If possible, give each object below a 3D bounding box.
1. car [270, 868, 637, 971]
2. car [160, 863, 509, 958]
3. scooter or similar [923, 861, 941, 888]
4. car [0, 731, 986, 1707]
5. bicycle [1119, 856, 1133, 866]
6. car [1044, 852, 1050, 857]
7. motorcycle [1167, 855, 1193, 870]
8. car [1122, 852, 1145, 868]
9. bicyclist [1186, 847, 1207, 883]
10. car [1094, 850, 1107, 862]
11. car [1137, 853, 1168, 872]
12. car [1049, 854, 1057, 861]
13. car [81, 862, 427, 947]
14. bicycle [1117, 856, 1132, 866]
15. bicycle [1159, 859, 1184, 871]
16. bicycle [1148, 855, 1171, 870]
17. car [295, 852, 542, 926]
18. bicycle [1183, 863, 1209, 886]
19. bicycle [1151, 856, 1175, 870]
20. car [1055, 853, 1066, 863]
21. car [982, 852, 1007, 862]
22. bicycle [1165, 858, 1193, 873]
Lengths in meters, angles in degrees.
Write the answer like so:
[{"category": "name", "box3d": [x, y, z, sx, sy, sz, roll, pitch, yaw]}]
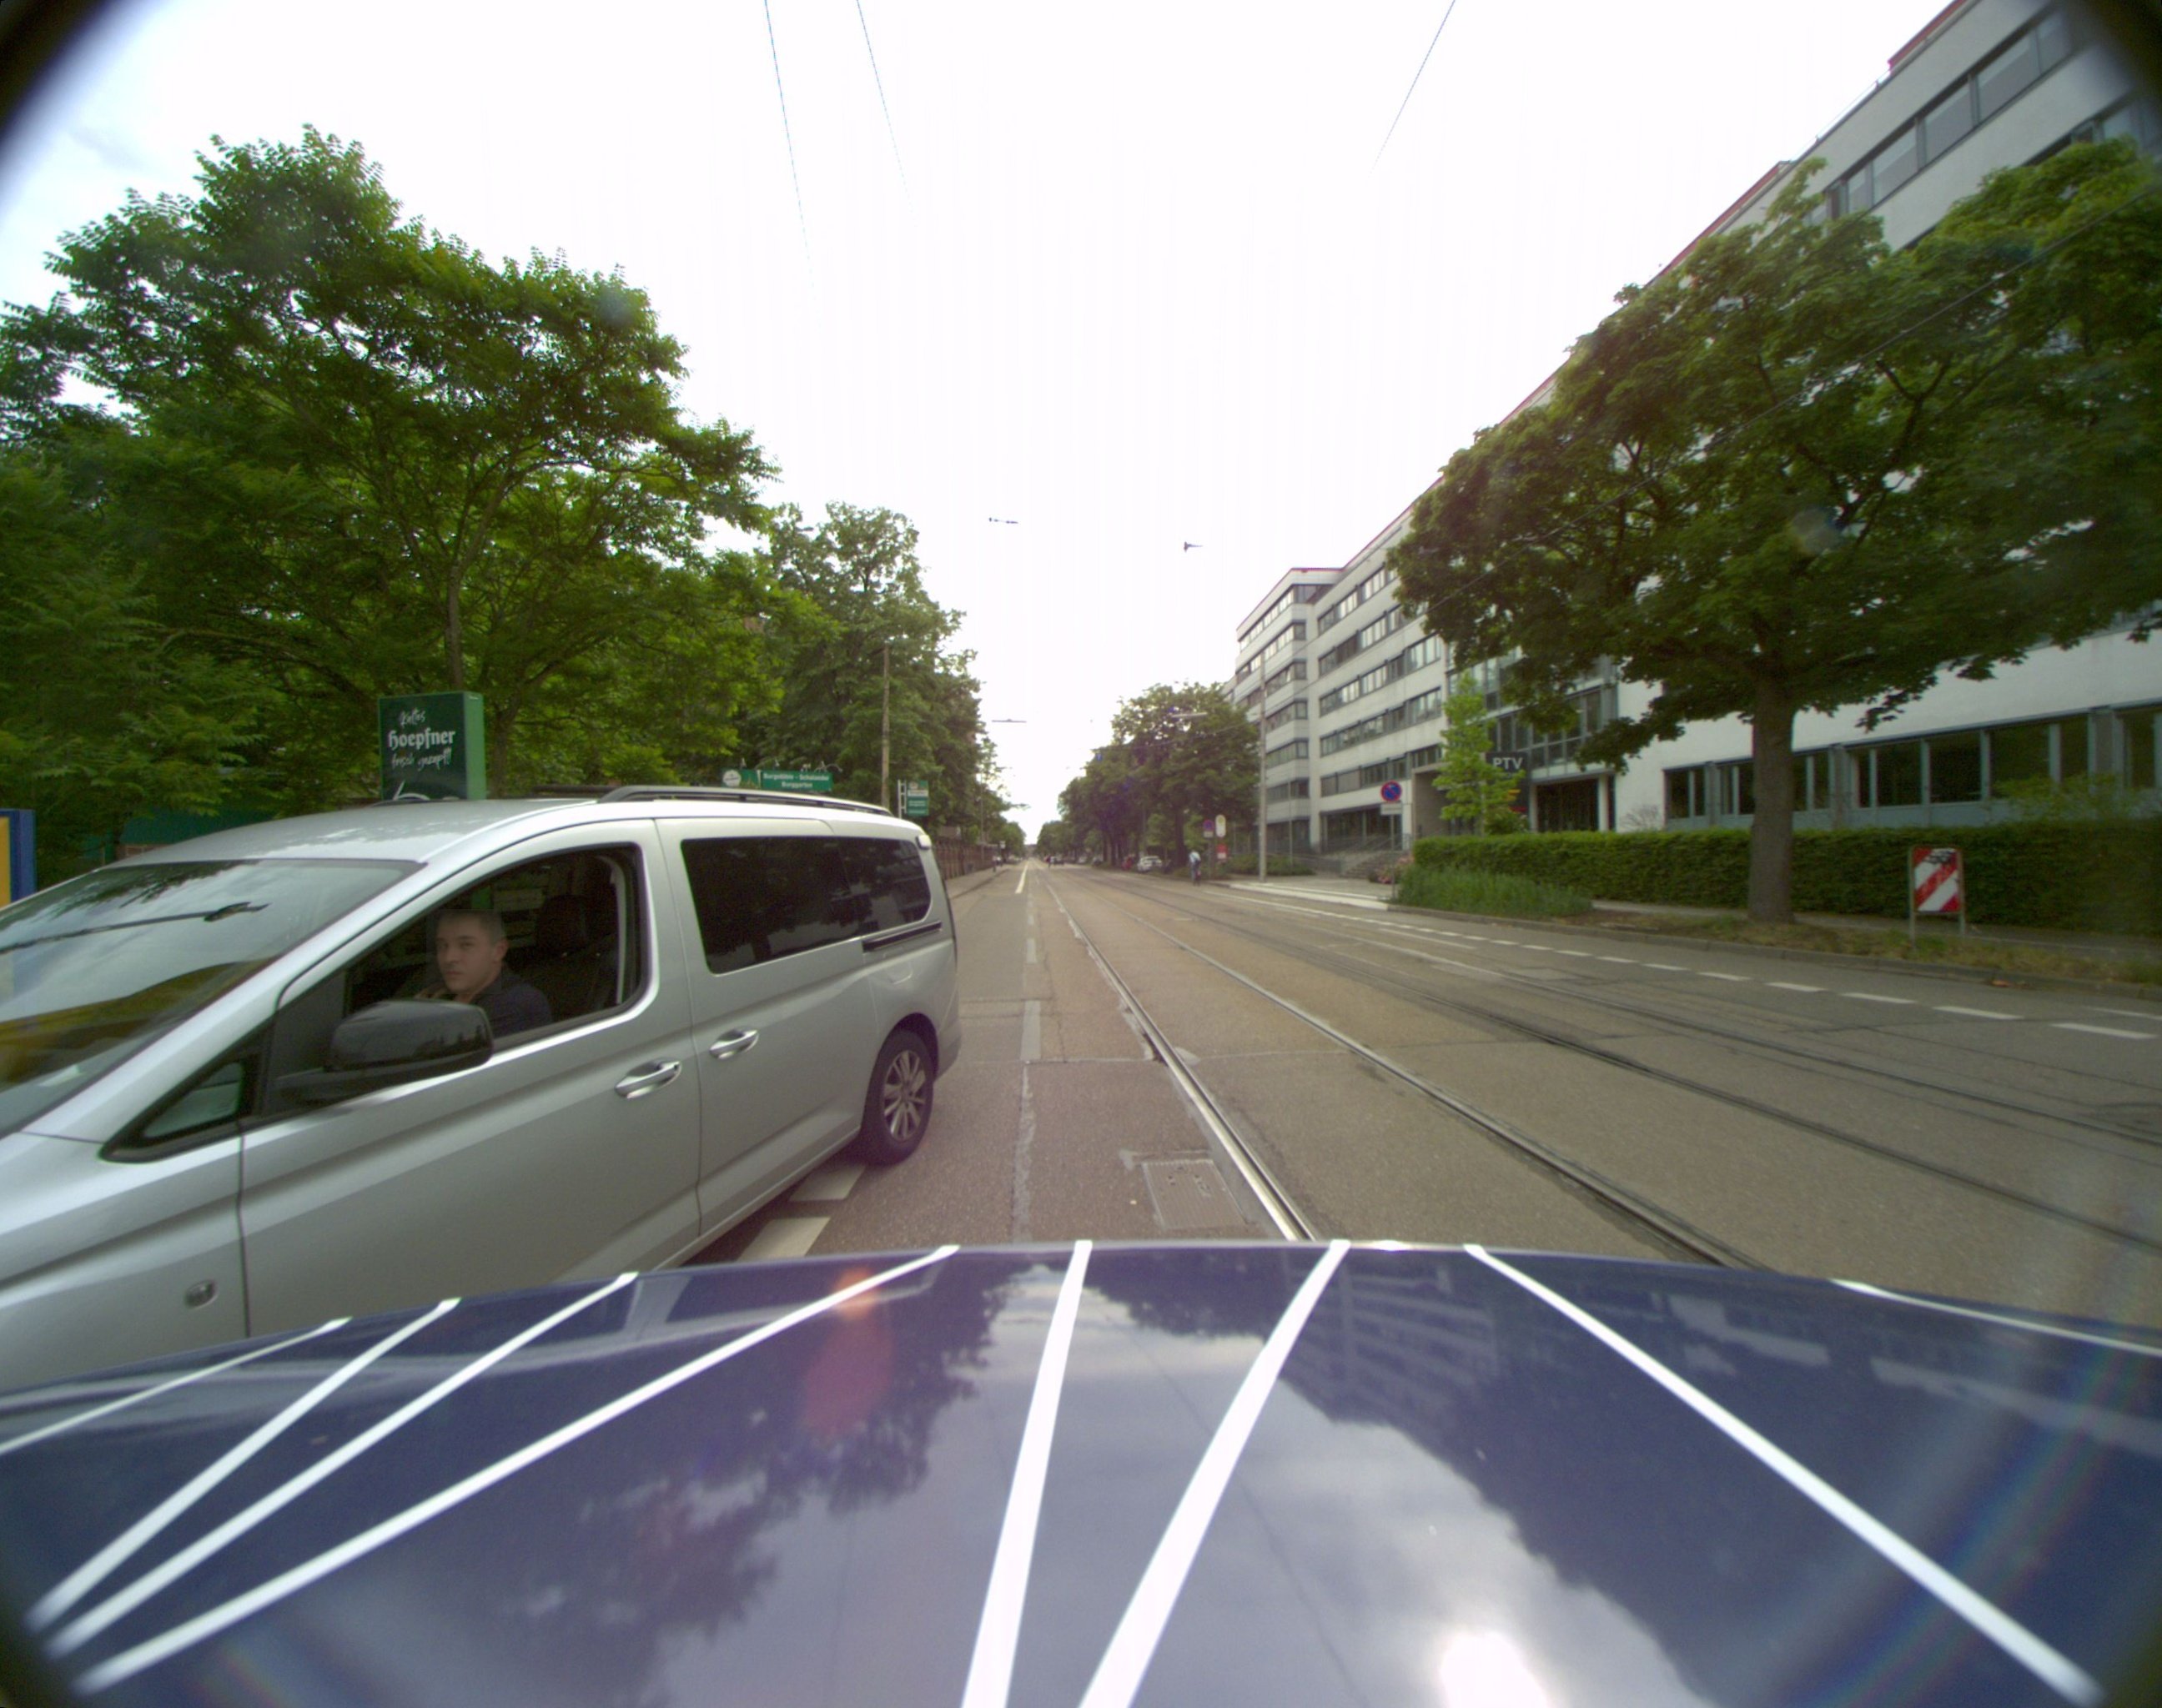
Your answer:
[{"category": "car", "box3d": [-10.522, 0.962, 13.062, 1.929, 1.399, 4.594, 0, 0, 40]}, {"category": "car", "box3d": [-13.936, 0.935, 14.460, 1.872, 1.419, 4.551, 2, 1, 39]}, {"category": "scooter or similar", "box3d": [-7.152, 0.981, 36.523, 0.578, 1.232, 1.409, 2, 0, -3]}, {"category": "car", "box3d": [-2.102, 0.734, 2.538, 1.848, 1.797, 4.942, -1, 0, 14]}, {"category": "bicycle", "box3d": [5.160, 0.758, 86.628, 1.473, 1.134, 0.617, -1, 1, -5]}, {"category": "car", "box3d": [-10.637, 0.018, 237.056, 1.746, 1.490, 4.259, -1, 0, -5]}, {"category": "motorcycle", "box3d": [7.491, 0.667, 57.570, 1.794, 1.044, 0.732, -2, 1, -11]}, {"category": "car", "box3d": [5.396, 0.621, 78.918, 1.633, 1.439, 3.754, -4, 1, -7]}, {"category": "bicyclist", "box3d": [5.683, 0.538, 37.459, 0.738, 1.739, 0.977, -1, 1, -14]}, {"category": "car", "box3d": [2.988, 0.244, 116.535, 1.815, 1.699, 3.999, -3, 1, 0]}, {"category": "car", "box3d": [6.098, 0.707, 65.623, 1.886, 1.485, 4.751, -3, 0, -4]}, {"category": "car", "box3d": [-6.337, 0.721, 173.460, 1.708, 1.521, 3.740, -2, 1, -5]}, {"category": "car", "box3d": [-16.373, 0.899, 15.301, 1.980, 1.450, 4.501, -1, -1, 36]}, {"category": "bicycle", "box3d": [4.892, 0.781, 85.606, 1.475, 1.085, 0.616, -3, 1, -16]}, {"category": "bicycle", "box3d": [7.026, 0.847, 59.126, 1.812, 0.894, 0.631, 0, 1, -10]}, {"category": "bicycle", "box3d": [6.470, 0.687, 62.648, 1.869, 1.180, 0.632, 0, 1, 1]}, {"category": "car", "box3d": [-16.451, 0.824, 19.035, 4.434, 1.637, 1.991, -1, 1, 2]}, {"category": "bicycle", "box3d": [5.671, 0.977, 37.525, 0.589, 1.067, 1.954, -1, 0, -14]}, {"category": "bicycle", "box3d": [6.621, 0.720, 61.495, 1.812, 1.094, 0.631, 0, 1, -10]}, {"category": "car", "box3d": [-3.708, 0.763, 138.914, 1.832, 1.727, 4.333, -1, 1, -3]}, {"category": "car", "box3d": [-15.702, 0.558, 138.054, 3.994, 1.608, 2.001, 2, 1, 8]}, {"category": "bicycle", "box3d": [7.130, 0.821, 55.276, 1.835, 1.047, 0.741, -1, 0, -12]}]
